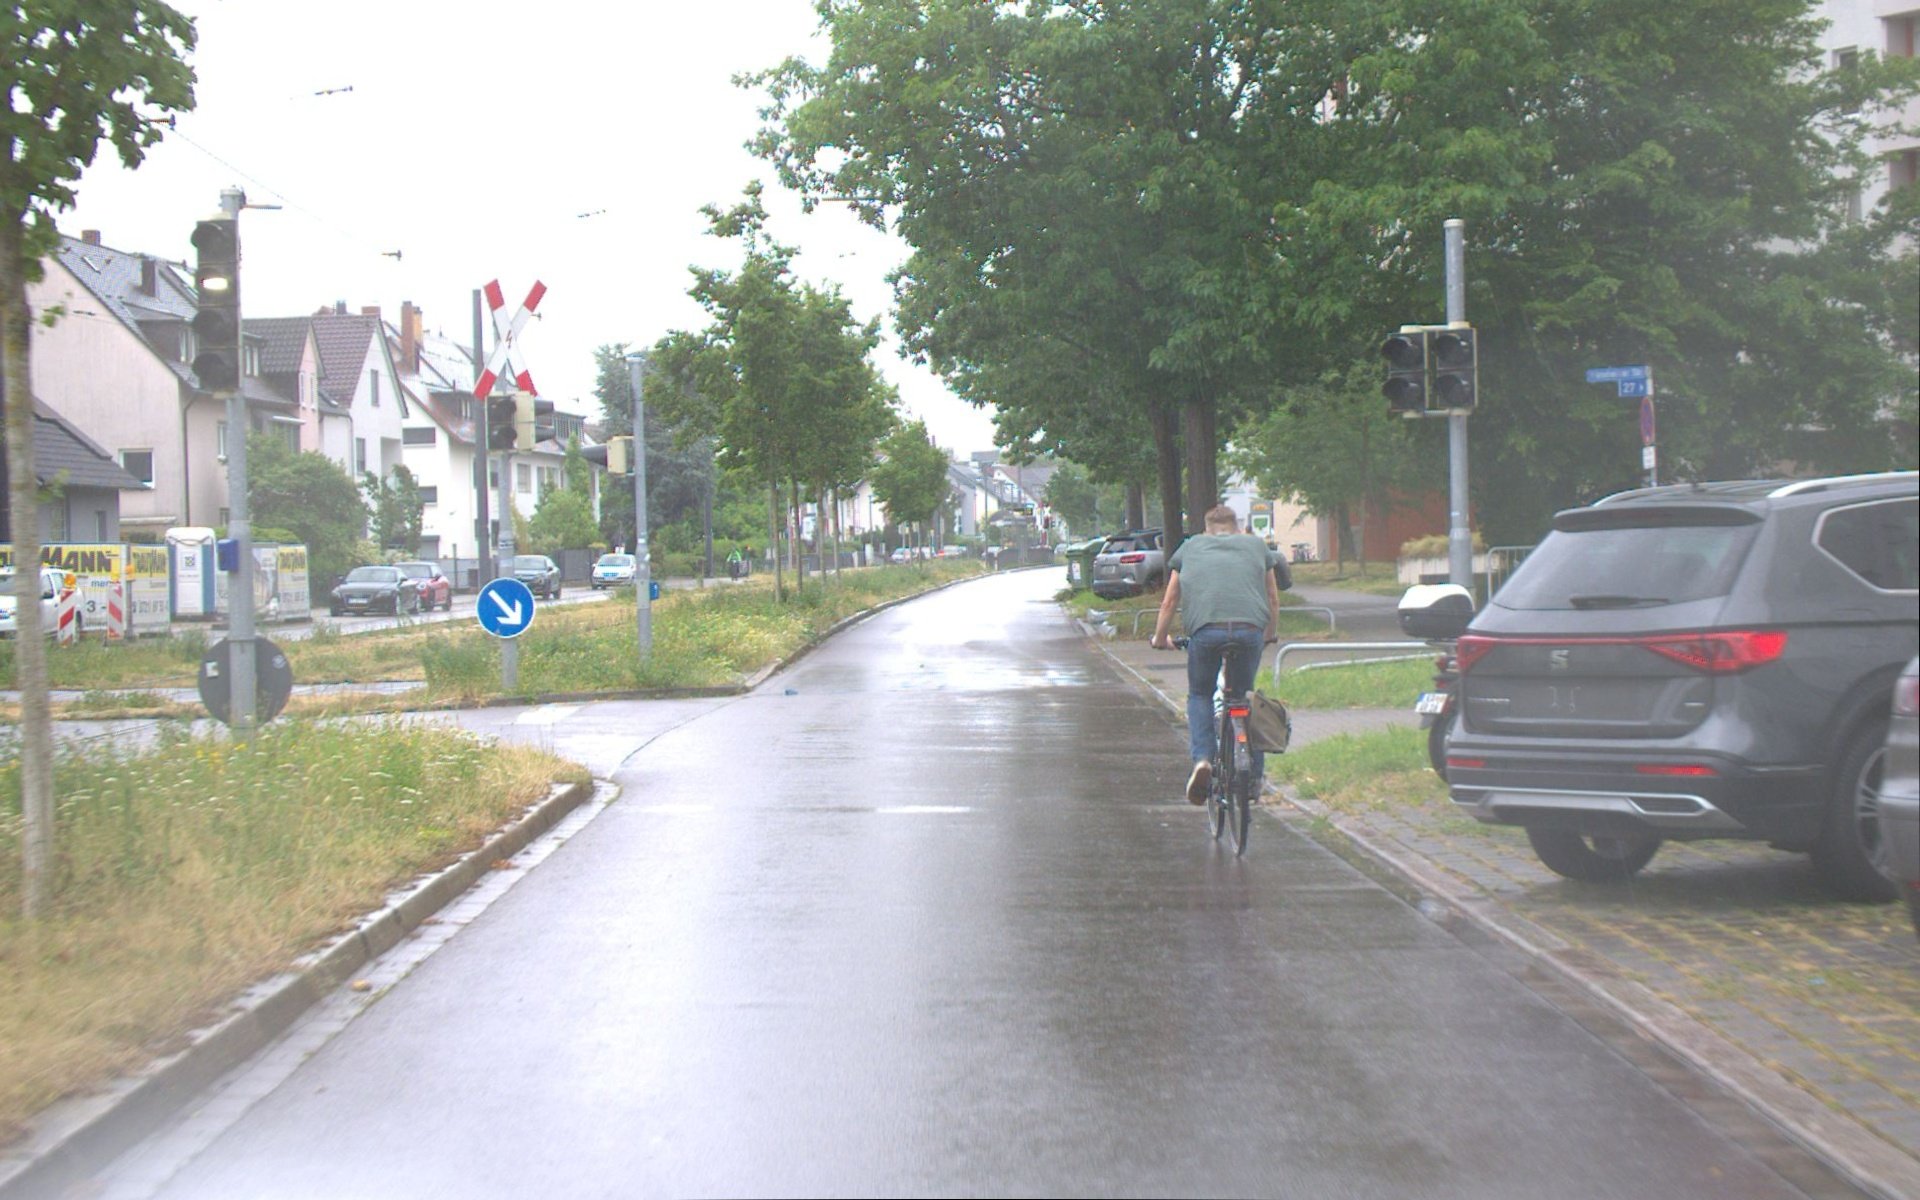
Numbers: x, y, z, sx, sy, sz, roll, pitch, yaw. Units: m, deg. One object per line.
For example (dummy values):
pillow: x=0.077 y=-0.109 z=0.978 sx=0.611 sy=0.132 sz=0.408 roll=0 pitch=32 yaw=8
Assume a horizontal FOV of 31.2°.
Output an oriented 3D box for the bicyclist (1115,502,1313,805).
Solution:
bicyclist: x=1.247 y=0.249 z=17.077 sx=0.809 sy=1.428 sz=1.060 roll=-2 pitch=1 yaw=-2

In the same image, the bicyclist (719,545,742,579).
bicyclist: x=-11.823 y=-1.951 z=176.954 sx=1.018 sy=1.679 sz=1.092 roll=-2 pitch=1 yaw=1

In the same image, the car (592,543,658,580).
car: x=-13.783 y=-1.589 z=141.603 sx=1.897 sy=1.464 sz=4.687 roll=1 pitch=1 yaw=4

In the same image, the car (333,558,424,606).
car: x=-15.807 y=-0.498 z=93.582 sx=1.663 sy=1.240 sz=4.071 roll=1 pitch=1 yaw=2

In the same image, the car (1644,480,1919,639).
car: x=10.714 y=-0.512 z=40.452 sx=4.801 sy=1.739 sz=2.001 roll=-2 pitch=1 yaw=-14

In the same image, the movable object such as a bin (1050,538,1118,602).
movable object such as a bin: x=3.128 y=-0.761 z=86.805 sx=1.125 sy=1.452 sz=1.401 roll=-8 pitch=3 yaw=-19

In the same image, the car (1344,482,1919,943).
car: x=3.816 y=0.334 z=14.533 sx=4.338 sy=1.645 sz=1.857 roll=-3 pitch=2 yaw=-41

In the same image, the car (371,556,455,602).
car: x=-15.712 y=-0.626 z=98.845 sx=1.674 sy=1.240 sz=3.855 roll=1 pitch=1 yaw=2

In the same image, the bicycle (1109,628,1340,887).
bicycle: x=1.269 y=0.734 z=17.044 sx=0.809 sy=1.093 sz=2.517 roll=-2 pitch=1 yaw=-2

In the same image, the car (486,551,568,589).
car: x=-15.031 y=-1.058 z=119.554 sx=1.897 sy=1.240 sz=4.687 roll=1 pitch=1 yaw=4

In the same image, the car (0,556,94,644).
car: x=-17.694 y=-0.029 z=64.300 sx=1.710 sy=1.537 sz=4.422 roll=1 pitch=1 yaw=2

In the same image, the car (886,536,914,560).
car: x=-4.517 y=-3.943 z=260.119 sx=1.843 sy=1.666 sz=4.000 roll=-2 pitch=1 yaw=2

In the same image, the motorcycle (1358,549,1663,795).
motorcycle: x=3.290 y=0.406 z=20.475 sx=1.774 sy=1.332 sz=0.689 roll=-4 pitch=2 yaw=-36

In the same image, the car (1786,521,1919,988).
car: x=4.708 y=0.393 z=11.525 sx=3.989 sy=1.424 sz=1.734 roll=-3 pitch=2 yaw=-41

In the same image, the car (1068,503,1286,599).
car: x=4.634 y=-1.046 z=73.438 sx=4.135 sy=1.713 sz=2.000 roll=-5 pitch=3 yaw=-30

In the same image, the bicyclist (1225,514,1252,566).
bicyclist: x=8.686 y=-1.879 z=107.279 sx=0.734 sy=1.588 sz=0.944 roll=-2 pitch=1 yaw=1
